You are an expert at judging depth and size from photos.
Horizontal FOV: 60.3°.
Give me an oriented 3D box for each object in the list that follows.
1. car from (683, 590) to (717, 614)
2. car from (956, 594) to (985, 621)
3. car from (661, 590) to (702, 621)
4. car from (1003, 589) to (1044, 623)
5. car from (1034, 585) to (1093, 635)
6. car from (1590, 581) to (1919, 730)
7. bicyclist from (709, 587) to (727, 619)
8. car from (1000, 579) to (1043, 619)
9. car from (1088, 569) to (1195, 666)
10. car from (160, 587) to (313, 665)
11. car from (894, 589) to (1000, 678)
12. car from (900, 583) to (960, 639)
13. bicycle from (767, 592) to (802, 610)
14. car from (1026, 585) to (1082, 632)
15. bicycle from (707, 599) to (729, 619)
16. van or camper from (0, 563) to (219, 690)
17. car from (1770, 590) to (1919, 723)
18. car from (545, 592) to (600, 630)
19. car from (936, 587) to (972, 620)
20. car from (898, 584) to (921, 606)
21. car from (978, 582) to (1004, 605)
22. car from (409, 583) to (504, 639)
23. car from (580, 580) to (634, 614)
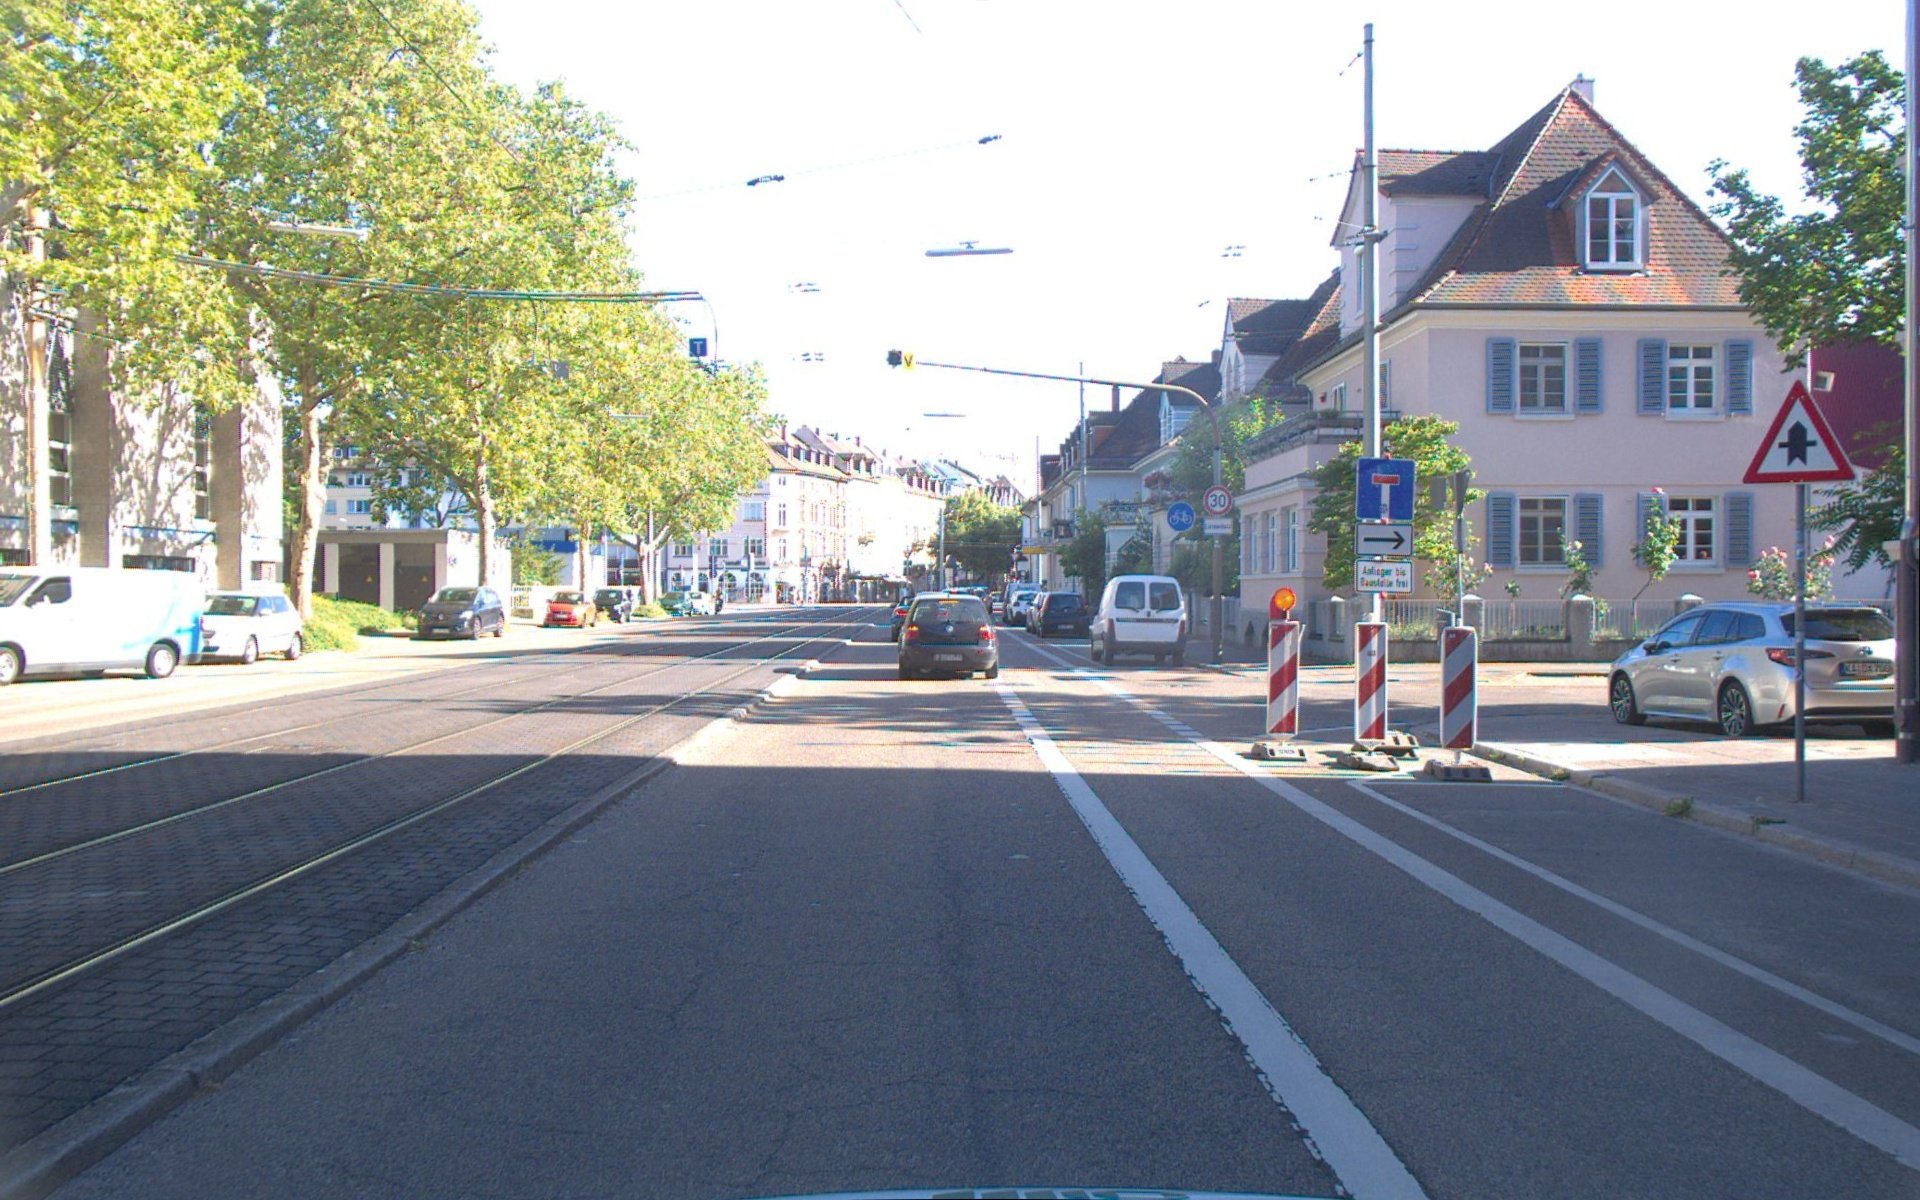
[{"bbox_3d":[-16.376,0.120,104.273,1.603,1.498,3.728,0,0,-1],"label":"car"},{"bbox_3d":[0.612,0.431,98.458,1.603,1.498,3.728,0,0,-1],"label":"car"},{"bbox_3d":[-16.479,0.307,97.928,1.846,1.698,3.803,2,1,-2],"label":"car"},{"bbox_3d":[2.757,0.245,72.032,1.548,1.399,3.999,0,0,-1],"label":"car"},{"bbox_3d":[3.361,0.300,54.289,1.627,1.552,4.035,0,0,-1],"label":"car"},{"bbox_3d":[8.766,0.611,18.280,1.668,1.413,4.513,-1,-2,-3],"label":"car"},{"bbox_3d":[-14.491,0.157,99.093,0.895,1.865,0.960,2,1,-1],"label":"bicyclist"},{"bbox_3d":[2.819,-0.060,76.893,1.780,1.830,3.999,0,0,-1],"label":"car"},{"bbox_3d":[3.732,0.327,34.536,1.723,1.870,3.547,2,1,-1],"label":"car"},{"bbox_3d":[-15.571,0.514,35.798,1.542,1.533,4.089,2,1,-1],"label":"car"},{"bbox_3d":[-0.294,0.530,28.878,1.713,1.399,3.998,0,1,-3],"label":"car"},{"bbox_3d":[-0.890,0.300,49.436,1.713,1.564,3.891,0,1,-1],"label":"car"},{"bbox_3d":[-13.826,0.060,130.239,2.687,1.284,0.706,2,1,-2],"label":"bicycle"},{"bbox_3d":[3.302,0.279,58.640,1.713,1.564,3.955,0,1,-1],"label":"car"},{"bbox_3d":[-14.507,0.542,99.128,0.895,1.102,3.202,2,1,-1],"label":"bicycle"},{"bbox_3d":[-15.454,0.384,28.338,2.017,1.983,5.191,2,1,18],"label":"van or camper"},{"bbox_3d":[11.500,0.640,19.237,1.738,1.484,4.513,-1,-2,-3],"label":"car"},{"bbox_3d":[-16.160,0.458,69.127,1.538,1.560,3.571,0,0,-1],"label":"car"},{"bbox_3d":[-0.288,0.159,76.775,1.603,1.498,3.728,0,0,-1],"label":"car"},{"bbox_3d":[-3.541,-0.359,116.181,1.603,1.498,3.728,0,0,-1],"label":"car"},{"bbox_3d":[2.024,-0.418,109.171,1.603,1.498,3.728,0,0,-1],"label":"car"},{"bbox_3d":[-15.956,0.323,52.584,1.849,1.695,3.999,0,0,-1],"label":"car"},{"bbox_3d":[-16.674,-0.137,78.336,1.756,1.491,3.835,3,0,-1],"label":"car"}]
